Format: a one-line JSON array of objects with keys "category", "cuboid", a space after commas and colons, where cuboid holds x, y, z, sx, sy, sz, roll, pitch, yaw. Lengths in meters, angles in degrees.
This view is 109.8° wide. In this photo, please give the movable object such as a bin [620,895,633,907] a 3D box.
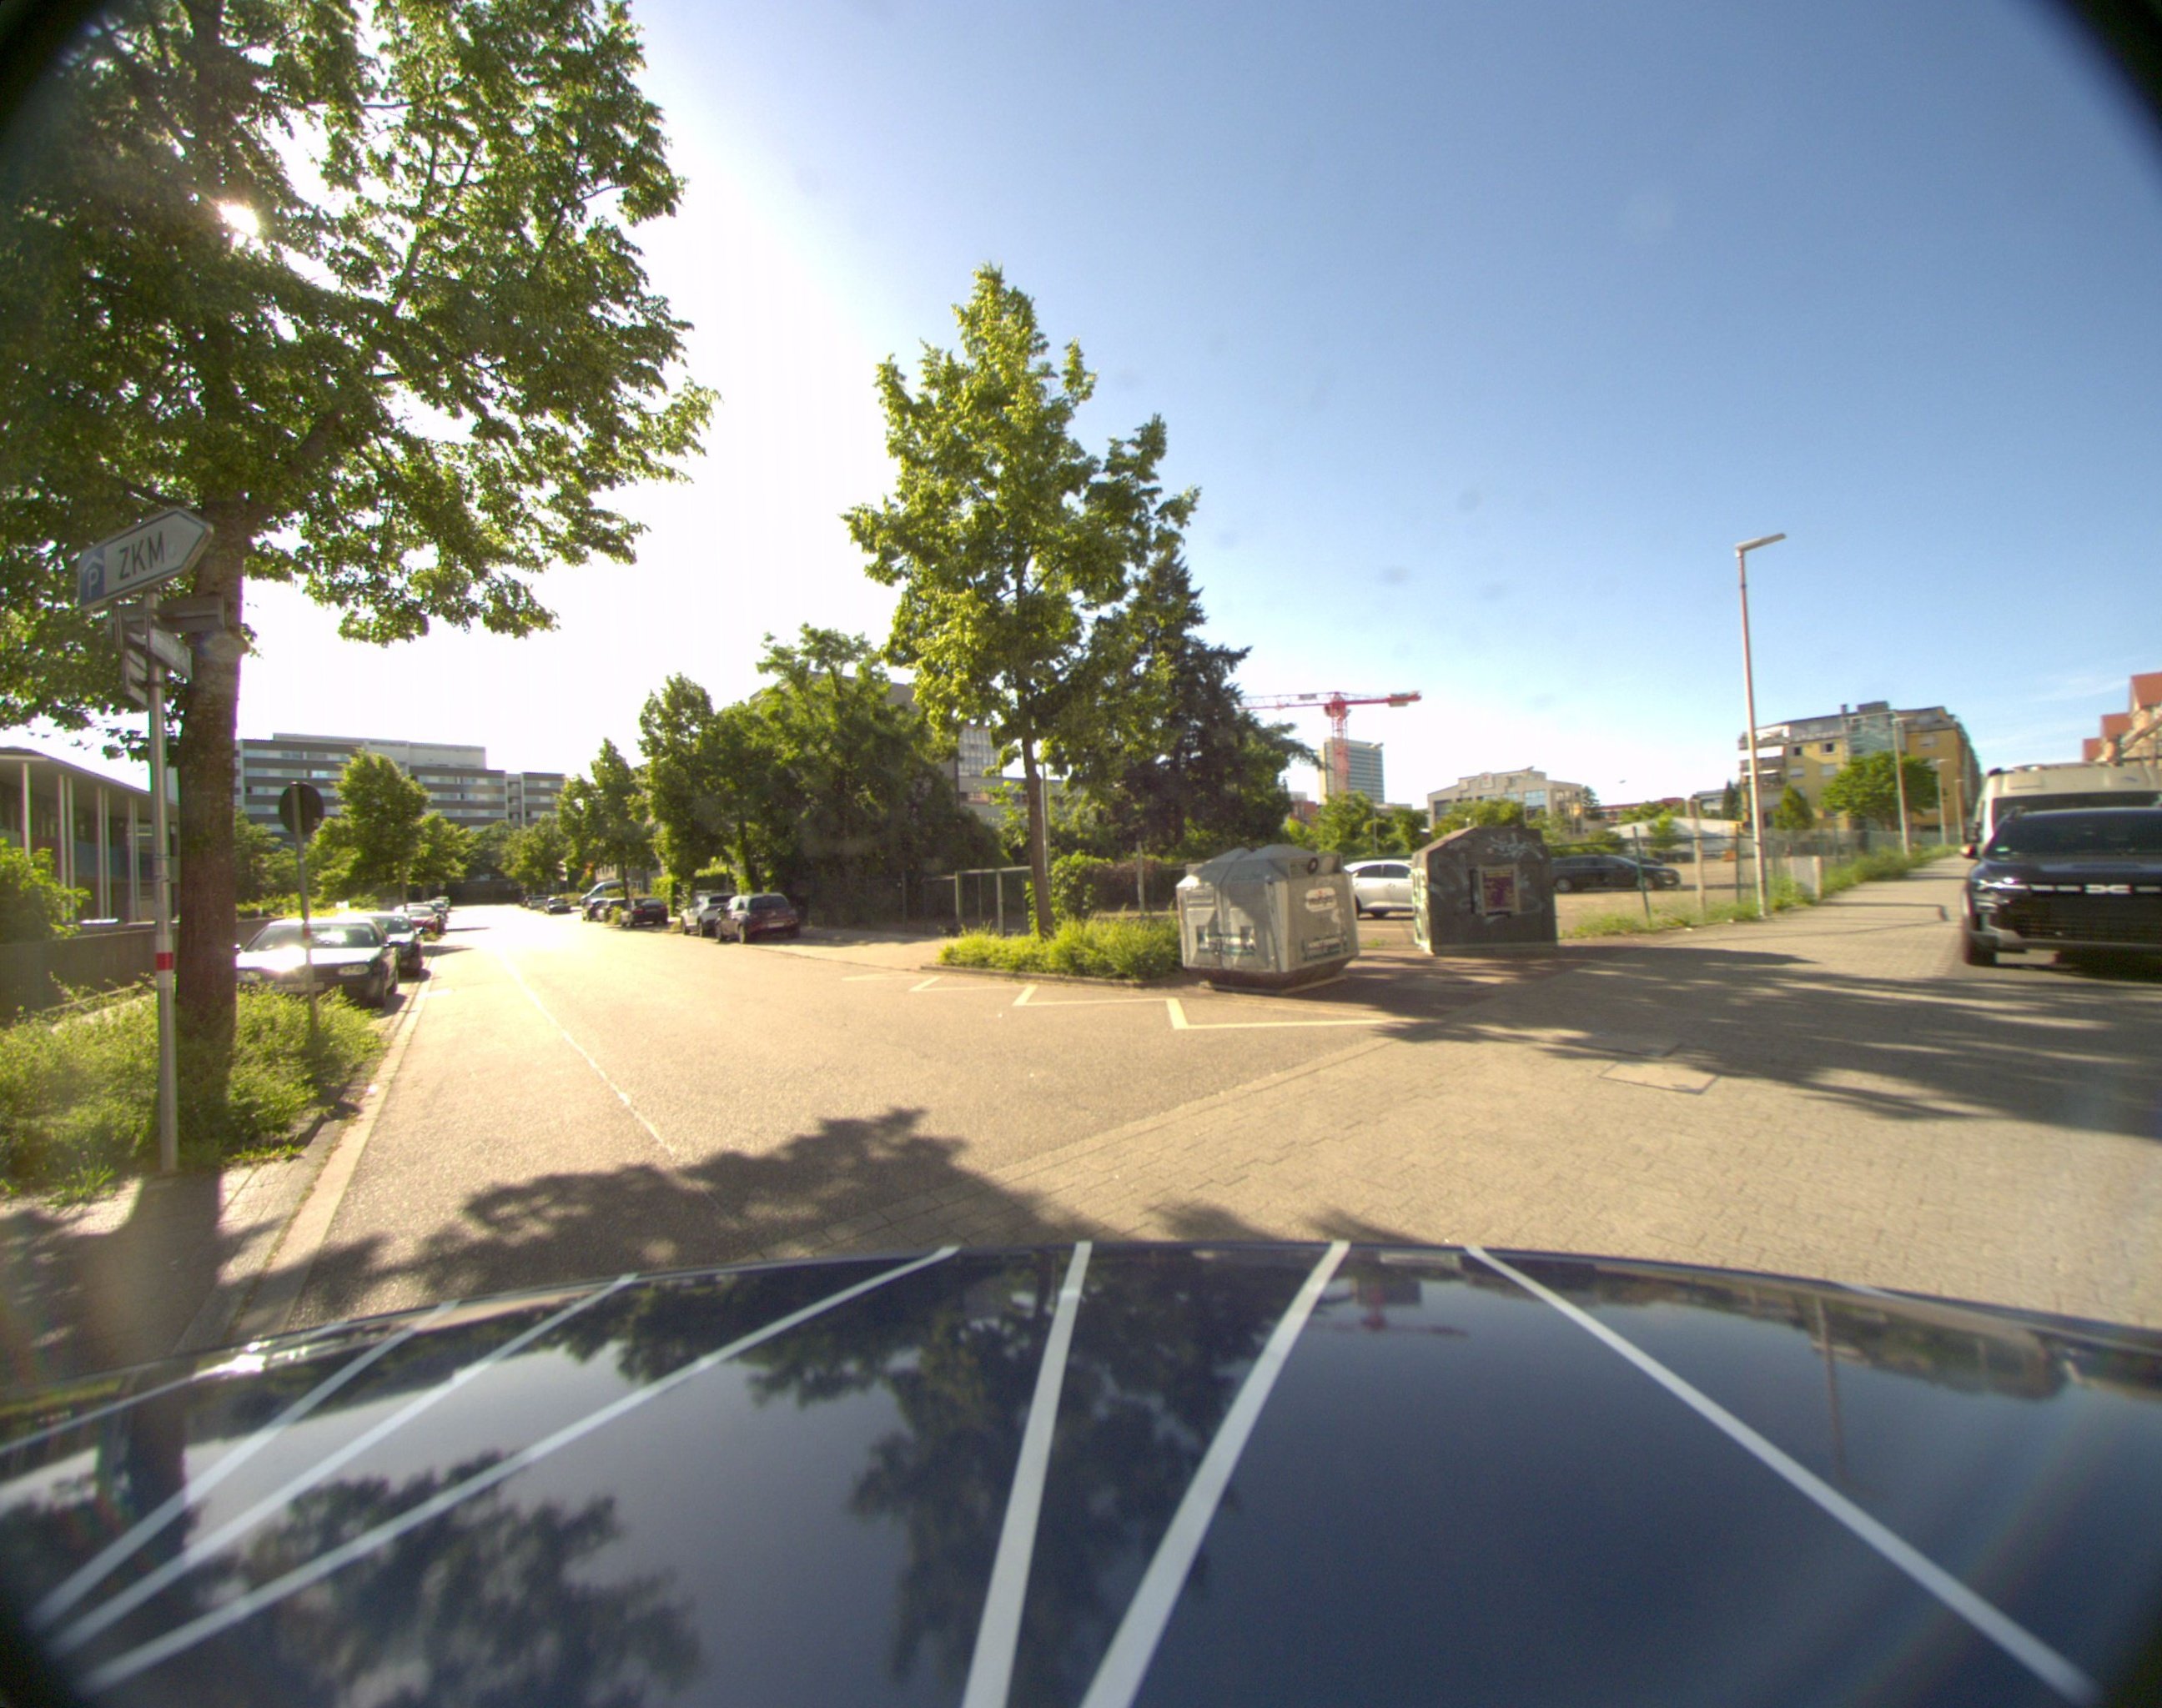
[{"category": "movable object such as a bin", "cuboid": [-41.663, 4.319, 69.638, 0.864, 1.032, 0.676, -5, 2, -42]}]

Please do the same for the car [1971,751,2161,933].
[{"category": "car", "cuboid": [17.382, -0.210, 13.254, 6.295, 2.581, 2.159, -2, -1, -39]}]

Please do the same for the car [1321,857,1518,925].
[{"category": "car", "cuboid": [9.058, 0.987, 20.686, 2.004, 1.600, 4.416, -2, -2, -36]}]

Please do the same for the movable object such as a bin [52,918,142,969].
[{"category": "movable object such as a bin", "cuboid": [-31.467, 2.836, 24.343, 1.373, 1.439, 1.627, -1, -1, -38]}]

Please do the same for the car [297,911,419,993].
[{"category": "car", "cuboid": [-16.423, 2.137, 17.436, 1.793, 1.506, 3.990, -1, -2, -41]}]

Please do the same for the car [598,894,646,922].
[{"category": "car", "cuboid": [-27.694, 3.197, 45.795, 1.849, 1.465, 4.017, -4, 0, -39]}]

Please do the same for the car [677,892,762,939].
[{"category": "car", "cuboid": [-13.414, 2.205, 28.093, 1.849, 1.465, 3.992, -4, 0, -39]}]

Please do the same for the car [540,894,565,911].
[{"category": "car", "cuboid": [-50.757, 4.685, 72.948, 1.635, 1.515, 3.554, -2, -1, -40]}]

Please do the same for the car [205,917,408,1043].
[{"category": "car", "cuboid": [-12.399, 1.877, 12.462, 1.755, 1.413, 4.413, -2, 0, -39]}]

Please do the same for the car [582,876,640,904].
[{"category": "car", "cuboid": [-52.593, 4.028, 85.080, 5.166, 2.885, 2.009, -1, -1, -43]}]

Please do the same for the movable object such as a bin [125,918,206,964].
[{"category": "movable object such as a bin", "cuboid": [-30.324, 2.857, 25.213, 1.373, 1.349, 1.627, -1, -1, -38]}]

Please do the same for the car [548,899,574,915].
[{"category": "car", "cuboid": [-46.937, 4.762, 68.508, 1.635, 1.240, 3.554, -2, -2, -39]}]

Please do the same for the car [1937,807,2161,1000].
[{"category": "car", "cuboid": [10.864, 0.396, 8.090, 4.111, 1.685, 1.995, -2, -1, -38]}]

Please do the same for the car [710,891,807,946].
[{"category": "car", "cuboid": [-10.231, 1.963, 23.977, 1.726, 1.465, 3.537, -4, 0, -41]}]

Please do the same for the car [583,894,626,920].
[{"category": "car", "cuboid": [-31.551, 3.448, 50.255, 1.849, 1.465, 4.089, -4, 0, -39]}]

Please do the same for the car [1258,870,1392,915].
[{"category": "car", "cuboid": [8.948, 1.417, 28.214, 1.976, 1.486, 4.364, -2, -2, -36]}]

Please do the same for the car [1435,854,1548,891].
[{"category": "car", "cuboid": [19.256, 0.878, 35.770, 1.901, 1.550, 4.232, -2, -1, -39]}]

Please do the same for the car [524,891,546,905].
[{"category": "car", "cuboid": [-68.398, 5.484, 95.160, 1.800, 1.509, 3.880, -3, 0, -42]}]

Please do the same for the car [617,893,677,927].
[{"category": "car", "cuboid": [-21.929, 2.779, 38.315, 1.849, 1.465, 4.349, -4, 0, -39]}]

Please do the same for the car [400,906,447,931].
[{"category": "car", "cuboid": [-39.423, 3.837, 45.493, 1.973, 1.311, 4.764, 2, -3, -42]}]

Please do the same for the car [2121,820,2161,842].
[{"category": "car", "cuboid": [76.994, -1.658, 55.078, 4.007, 1.440, 1.757, -2, -1, -37]}]

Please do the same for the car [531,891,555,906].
[{"category": "car", "cuboid": [-62.640, 5.173, 88.465, 1.800, 1.590, 3.880, -3, 0, -42]}]

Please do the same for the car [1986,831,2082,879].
[{"category": "car", "cuboid": [31.546, 0.011, 25.189, 4.232, 1.417, 1.847, -2, -1, -39]}]

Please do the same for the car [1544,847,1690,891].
[{"category": "car", "cuboid": [20.932, 0.616, 29.836, 1.901, 1.550, 4.233, -2, -2, -36]}]

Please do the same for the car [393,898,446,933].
[{"category": "car", "cuboid": [-35.081, 3.192, 40.383, 1.910, 1.672, 4.400, 0, -2, -38]}]

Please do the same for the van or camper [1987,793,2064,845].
[{"category": "van or camper", "cuboid": [57.178, -2.084, 46.105, 5.144, 2.840, 2.717, -2, 0, -40]}]

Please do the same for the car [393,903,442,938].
[{"category": "car", "cuboid": [-31.771, 3.137, 36.456, 1.684, 1.495, 3.837, -2, -1, -40]}]
